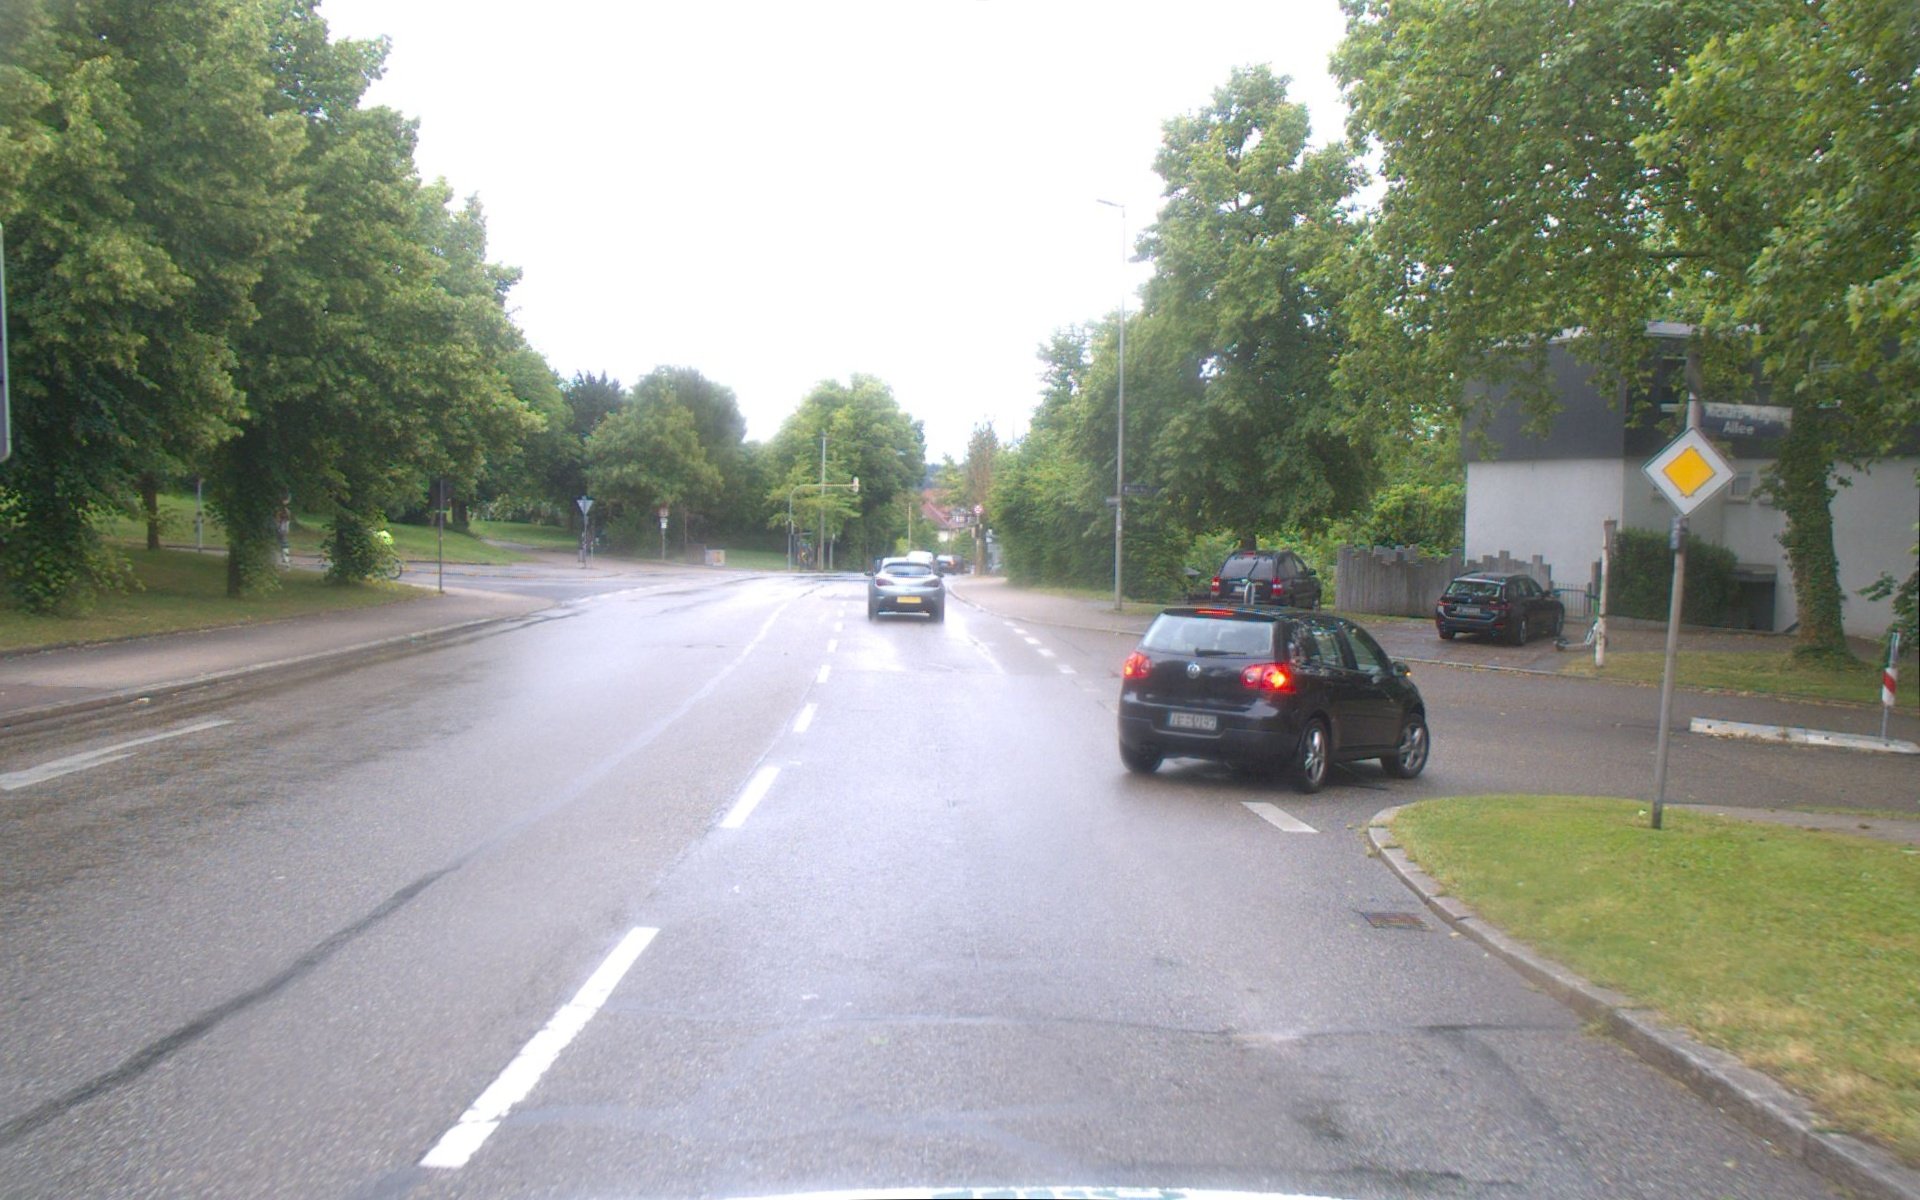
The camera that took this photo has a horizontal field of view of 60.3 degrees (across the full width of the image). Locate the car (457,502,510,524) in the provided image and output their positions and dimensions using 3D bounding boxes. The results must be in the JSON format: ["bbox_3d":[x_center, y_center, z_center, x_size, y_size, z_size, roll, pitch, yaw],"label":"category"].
[{"bbox_3d":[-37.091,-6.743,128.672,3.840,1.512,1.923,1,1,-21],"label":"car"}]

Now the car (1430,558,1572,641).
[{"bbox_3d":[12.117,-0.072,36.874,1.722,1.494,4.551,5,6,35],"label":"car"}]

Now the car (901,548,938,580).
[{"bbox_3d":[-2.078,-1.865,86.007,1.686,1.489,4.001,4,1,0],"label":"car"}]

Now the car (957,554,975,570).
[{"bbox_3d":[0.573,-3.881,167.045,1.686,1.489,4.001,4,1,0],"label":"car"}]

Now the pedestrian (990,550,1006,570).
[{"bbox_3d":[2.773,-2.901,120.119,1.051,1.379,0.919,0,1,9],"label":"pedestrian"}]

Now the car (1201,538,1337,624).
[{"bbox_3d":[7.464,-0.530,39.568,1.910,1.718,4.900,4,5,26],"label":"car"}]

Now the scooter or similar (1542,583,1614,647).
[{"bbox_3d":[12.925,0.304,34.612,1.310,1.308,0.561,0,1,-8],"label":"scooter or similar"}]

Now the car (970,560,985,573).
[{"bbox_3d":[2.155,-4.133,204.686,1.686,1.489,4.001,4,1,0],"label":"car"}]

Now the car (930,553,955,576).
[{"bbox_3d":[-1.269,-2.571,120.313,1.686,1.489,4.001,4,1,0],"label":"car"}]

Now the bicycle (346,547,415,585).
[{"bbox_3d":[-18.754,-1.104,53.511,1.989,1.175,0.854,1,0,20],"label":"bicycle"}]

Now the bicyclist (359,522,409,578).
[{"bbox_3d":[-18.617,-1.611,53.465,1.255,1.786,0.855,1,0,20],"label":"bicyclist"}]

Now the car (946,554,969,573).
[{"bbox_3d":[-0.192,-3.024,136.767,1.686,1.489,4.001,4,1,0],"label":"car"}]

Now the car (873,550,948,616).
[{"bbox_3d":[-1.240,-0.435,40.248,1.719,1.489,3.998,1,1,-3],"label":"car"}]

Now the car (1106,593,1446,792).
[{"bbox_3d":[2.962,0.736,14.820,1.690,1.489,3.990,1,0,31],"label":"car"}]
